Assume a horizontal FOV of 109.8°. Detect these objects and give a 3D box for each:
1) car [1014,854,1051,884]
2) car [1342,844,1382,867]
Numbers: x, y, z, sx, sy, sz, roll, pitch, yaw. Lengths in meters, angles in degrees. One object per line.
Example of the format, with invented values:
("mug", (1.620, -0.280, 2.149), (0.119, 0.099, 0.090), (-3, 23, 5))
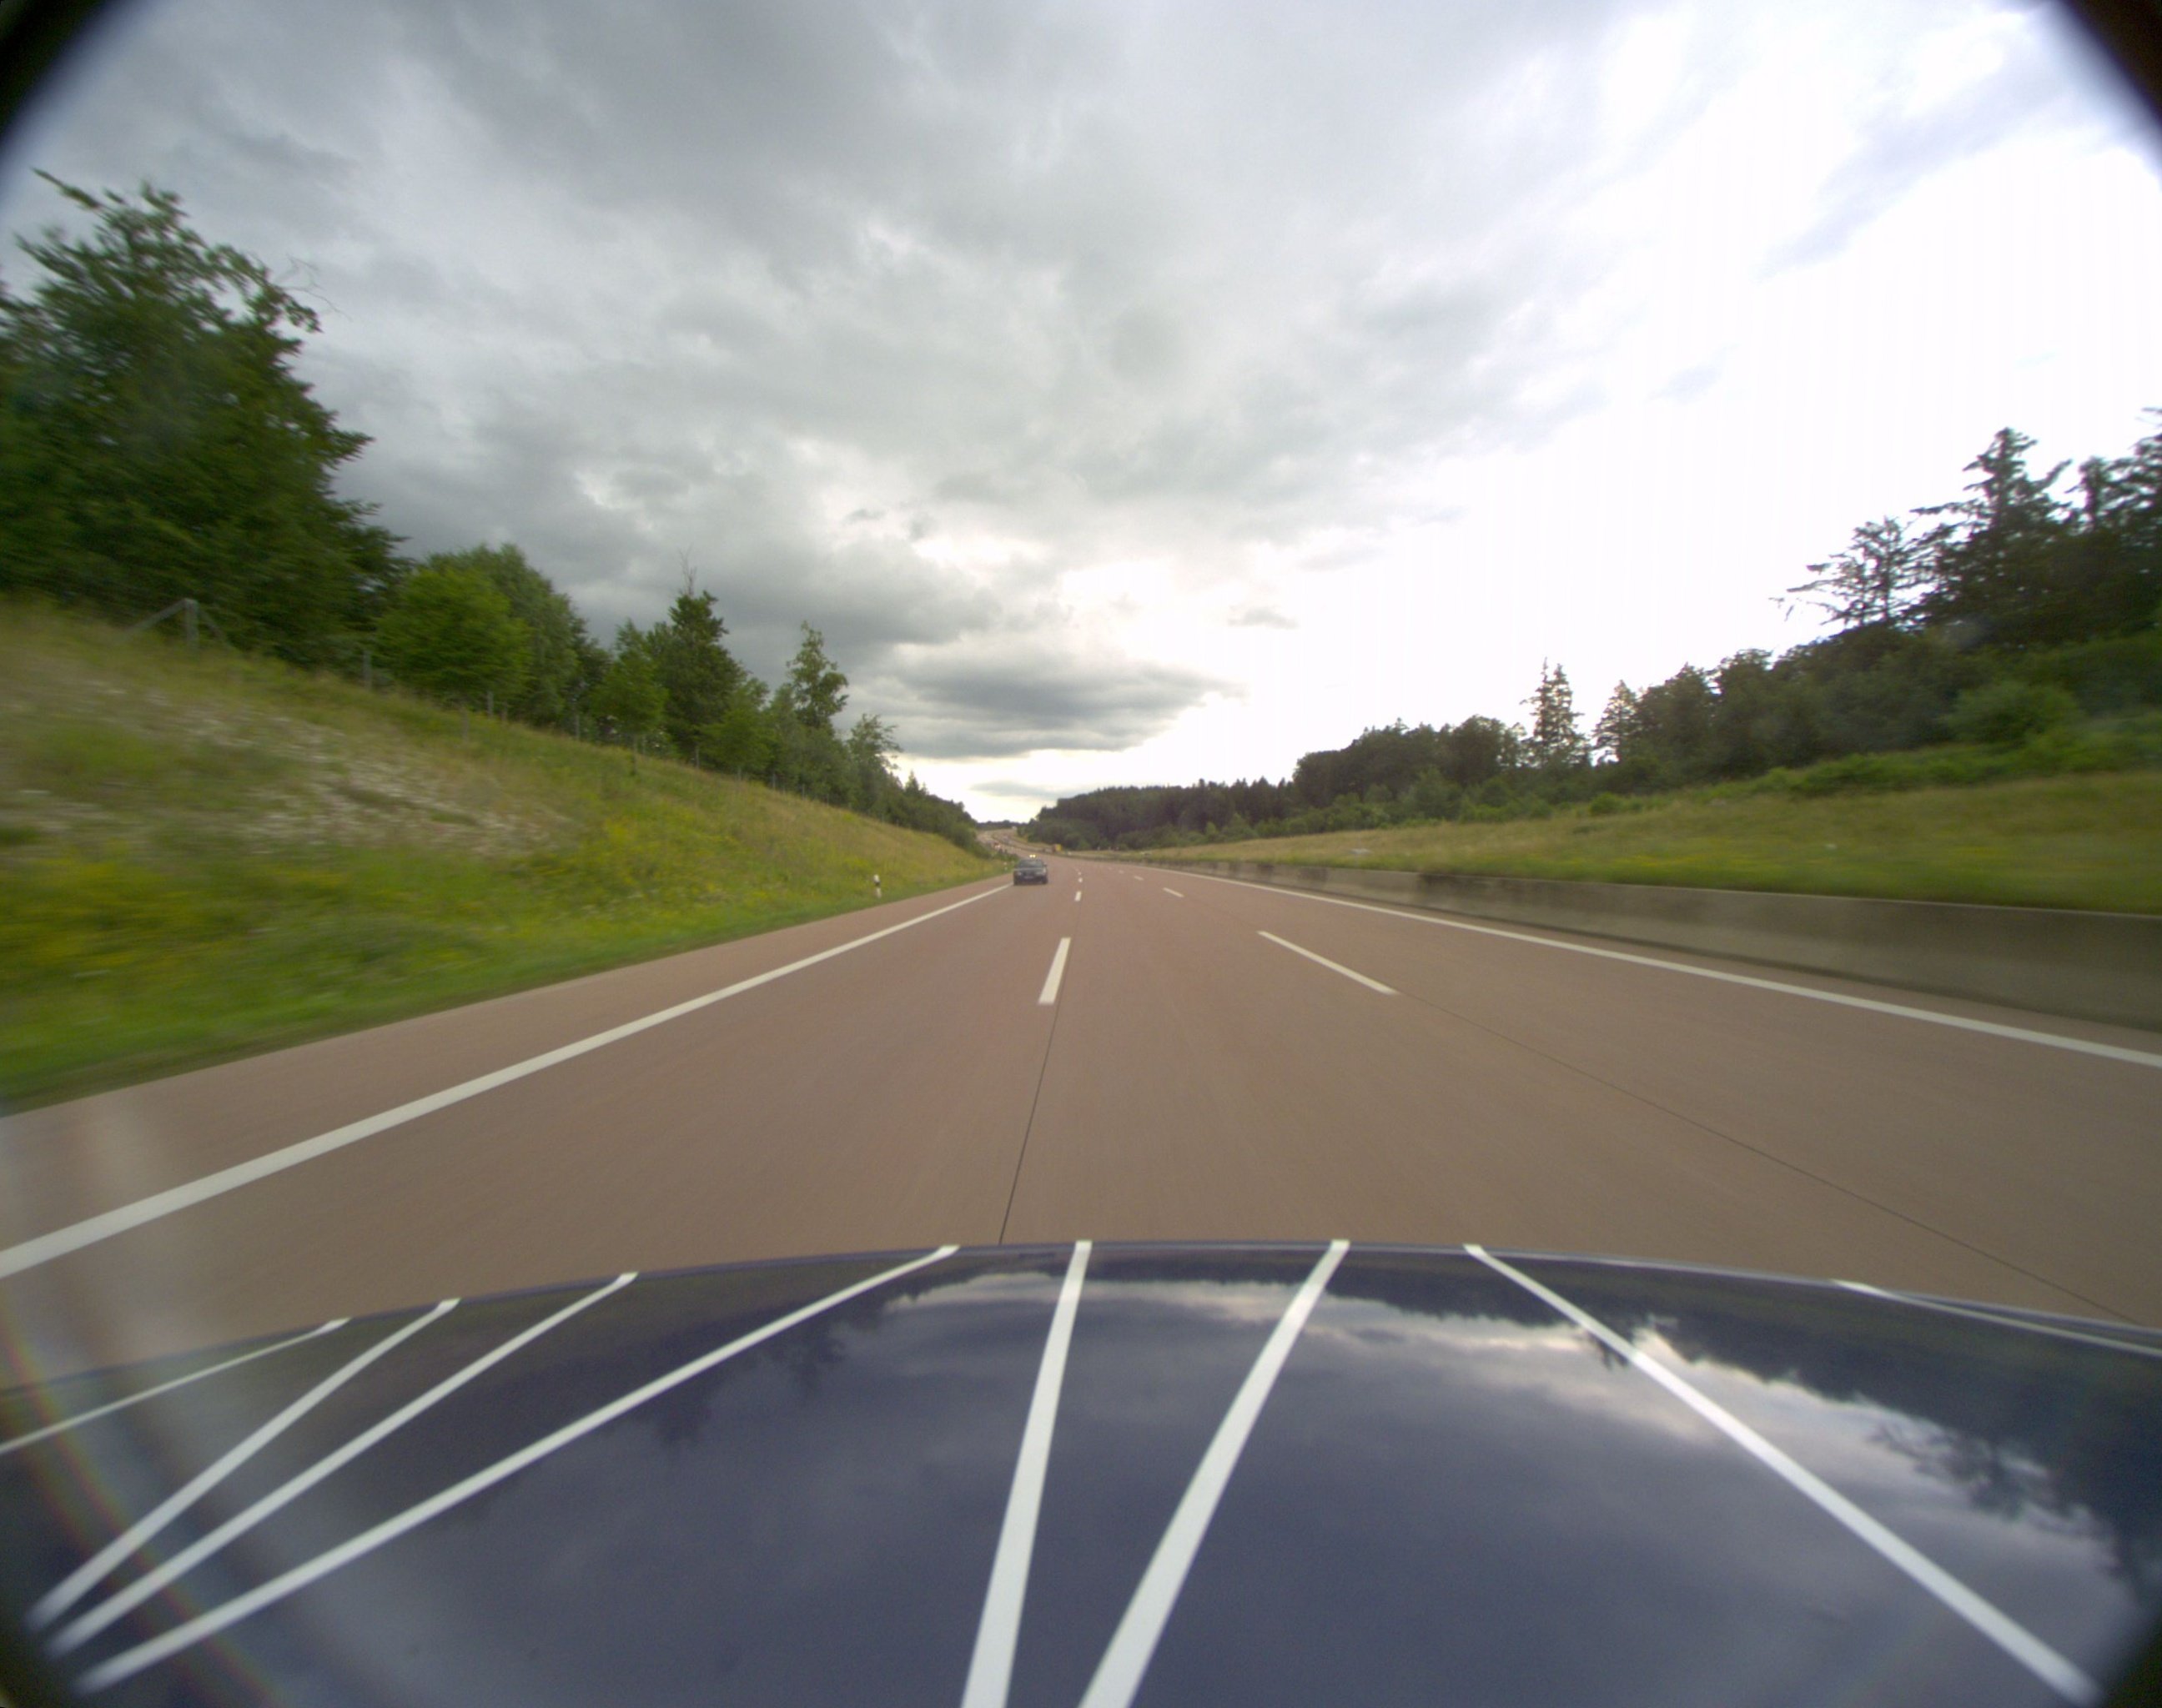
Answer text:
("car", (-2.634, 0.788, 42.003), (1.676, 1.395, 4.232), (-1, 2, 0))
("car", (19.176, 0.108, 52.000), (1.405, 1.479, 3.405), (-2, 0, -1))
